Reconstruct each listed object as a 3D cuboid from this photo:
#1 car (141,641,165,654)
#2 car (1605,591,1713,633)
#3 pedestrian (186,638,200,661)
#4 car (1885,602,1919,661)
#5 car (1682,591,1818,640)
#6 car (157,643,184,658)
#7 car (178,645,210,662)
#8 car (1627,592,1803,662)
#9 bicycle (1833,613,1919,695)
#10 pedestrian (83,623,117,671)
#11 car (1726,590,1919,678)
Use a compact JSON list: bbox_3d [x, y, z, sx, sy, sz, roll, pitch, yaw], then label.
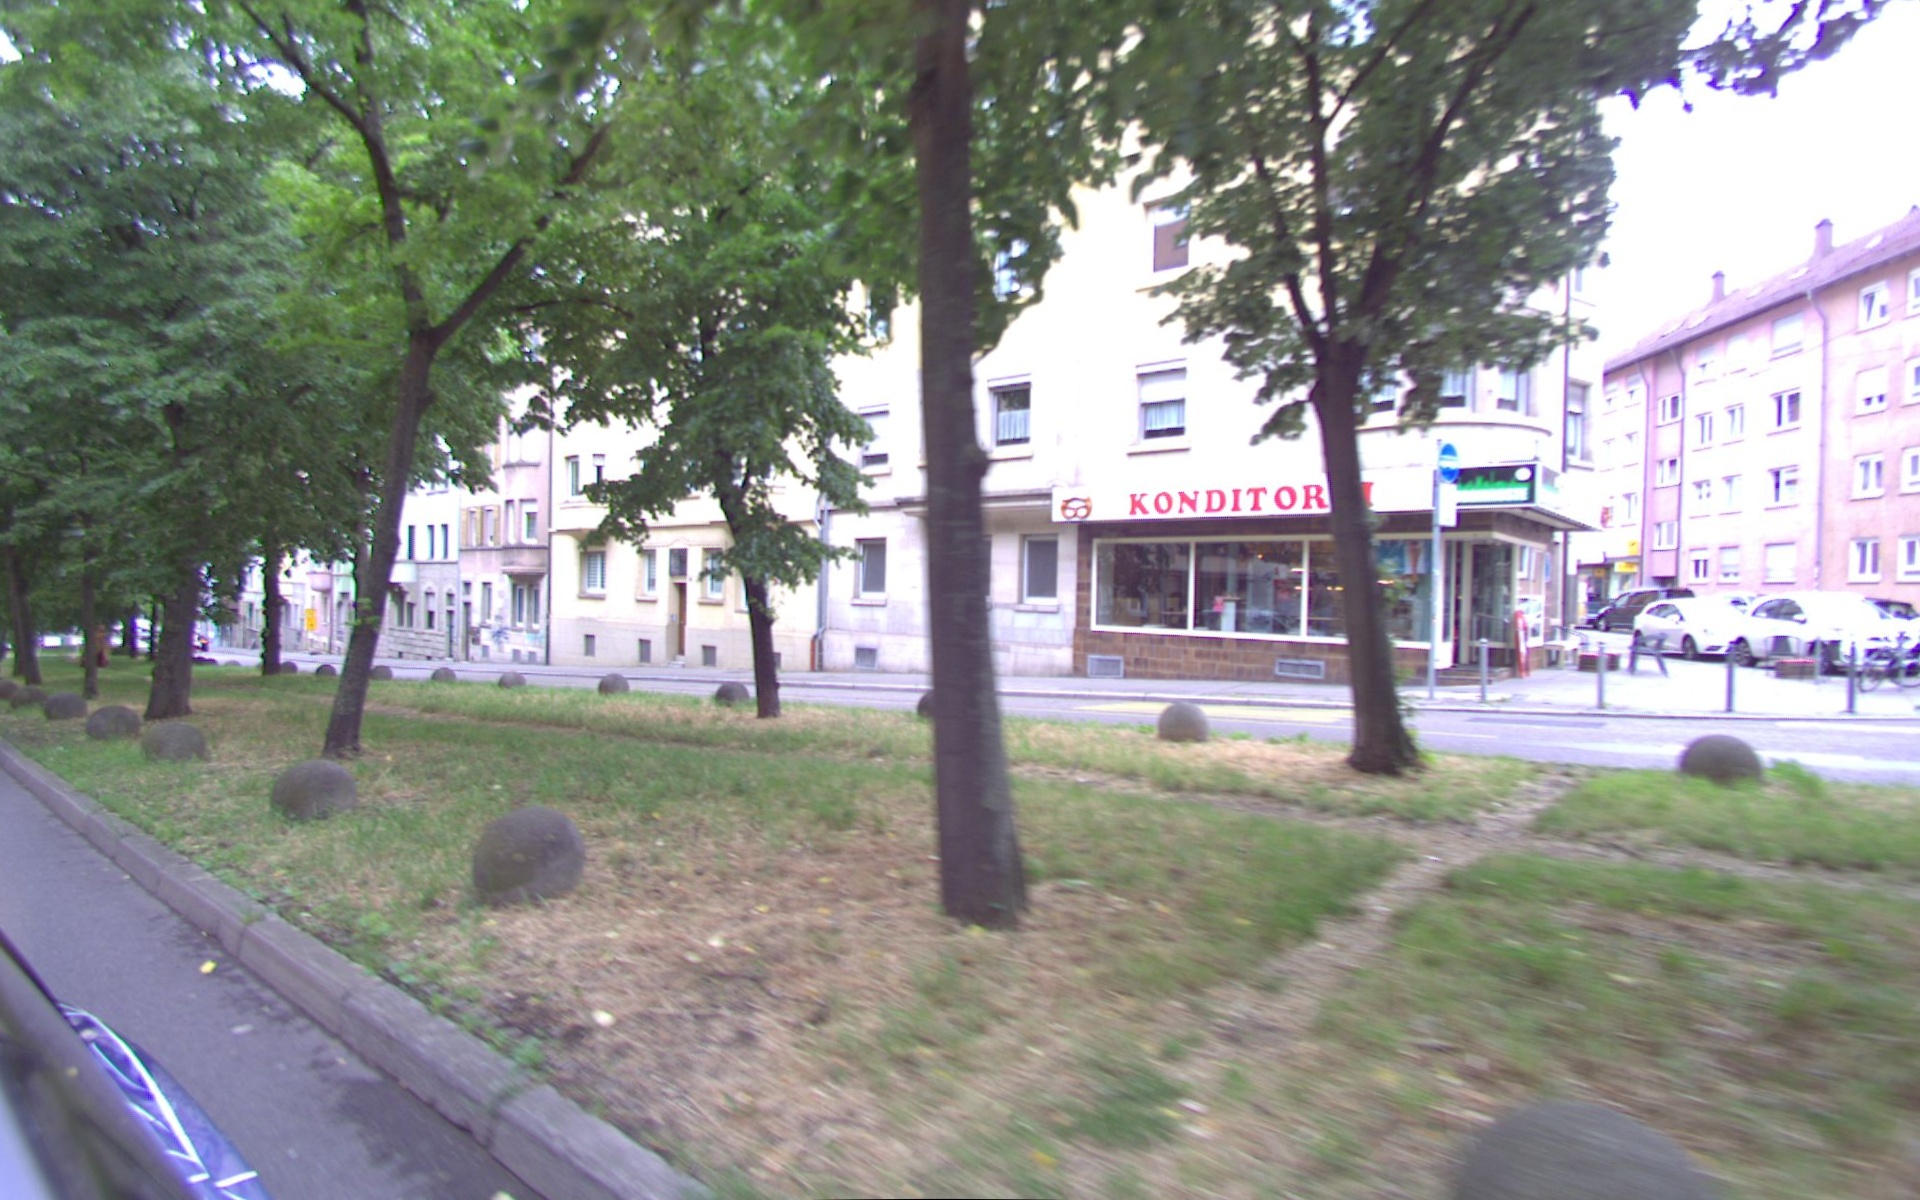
[{"bbox_3d":[-90.163,5.309,113.043,1.650,1.417,4.297,2,-3,-45],"label":"car"},{"bbox_3d":[26.338,0.472,38.278,1.775,1.490,3.890,1,-1,8],"label":"car"},{"bbox_3d":[-51.267,3.323,67.629,0.690,1.471,0.705,0,-2,-42],"label":"pedestrian"},{"bbox_3d":[24.887,0.784,24.485,1.775,1.490,3.890,1,-1,8],"label":"car"},{"bbox_3d":[25.652,0.513,33.036,1.775,1.490,3.890,1,-1,8],"label":"car"},{"bbox_3d":[-76.692,4.936,98.282,1.687,1.393,4.674,2,-4,-41],"label":"car"},{"bbox_3d":[-63.971,4.457,84.487,1.737,1.393,4.674,2,-4,-41],"label":"car"},{"bbox_3d":[18.005,0.626,24.364,1.800,1.523,3.757,1,-1,8],"label":"car"},{"bbox_3d":[14.151,0.759,14.956,2.417,1.054,0.871,-2,1,-22],"label":"bicycle"},{"bbox_3d":[-31.736,1.735,37.345,0.823,1.725,1.124,5,-3,-42],"label":"pedestrian"},{"bbox_3d":[17.004,0.635,19.642,1.800,1.523,3.757,1,-1,8],"label":"car"}]
